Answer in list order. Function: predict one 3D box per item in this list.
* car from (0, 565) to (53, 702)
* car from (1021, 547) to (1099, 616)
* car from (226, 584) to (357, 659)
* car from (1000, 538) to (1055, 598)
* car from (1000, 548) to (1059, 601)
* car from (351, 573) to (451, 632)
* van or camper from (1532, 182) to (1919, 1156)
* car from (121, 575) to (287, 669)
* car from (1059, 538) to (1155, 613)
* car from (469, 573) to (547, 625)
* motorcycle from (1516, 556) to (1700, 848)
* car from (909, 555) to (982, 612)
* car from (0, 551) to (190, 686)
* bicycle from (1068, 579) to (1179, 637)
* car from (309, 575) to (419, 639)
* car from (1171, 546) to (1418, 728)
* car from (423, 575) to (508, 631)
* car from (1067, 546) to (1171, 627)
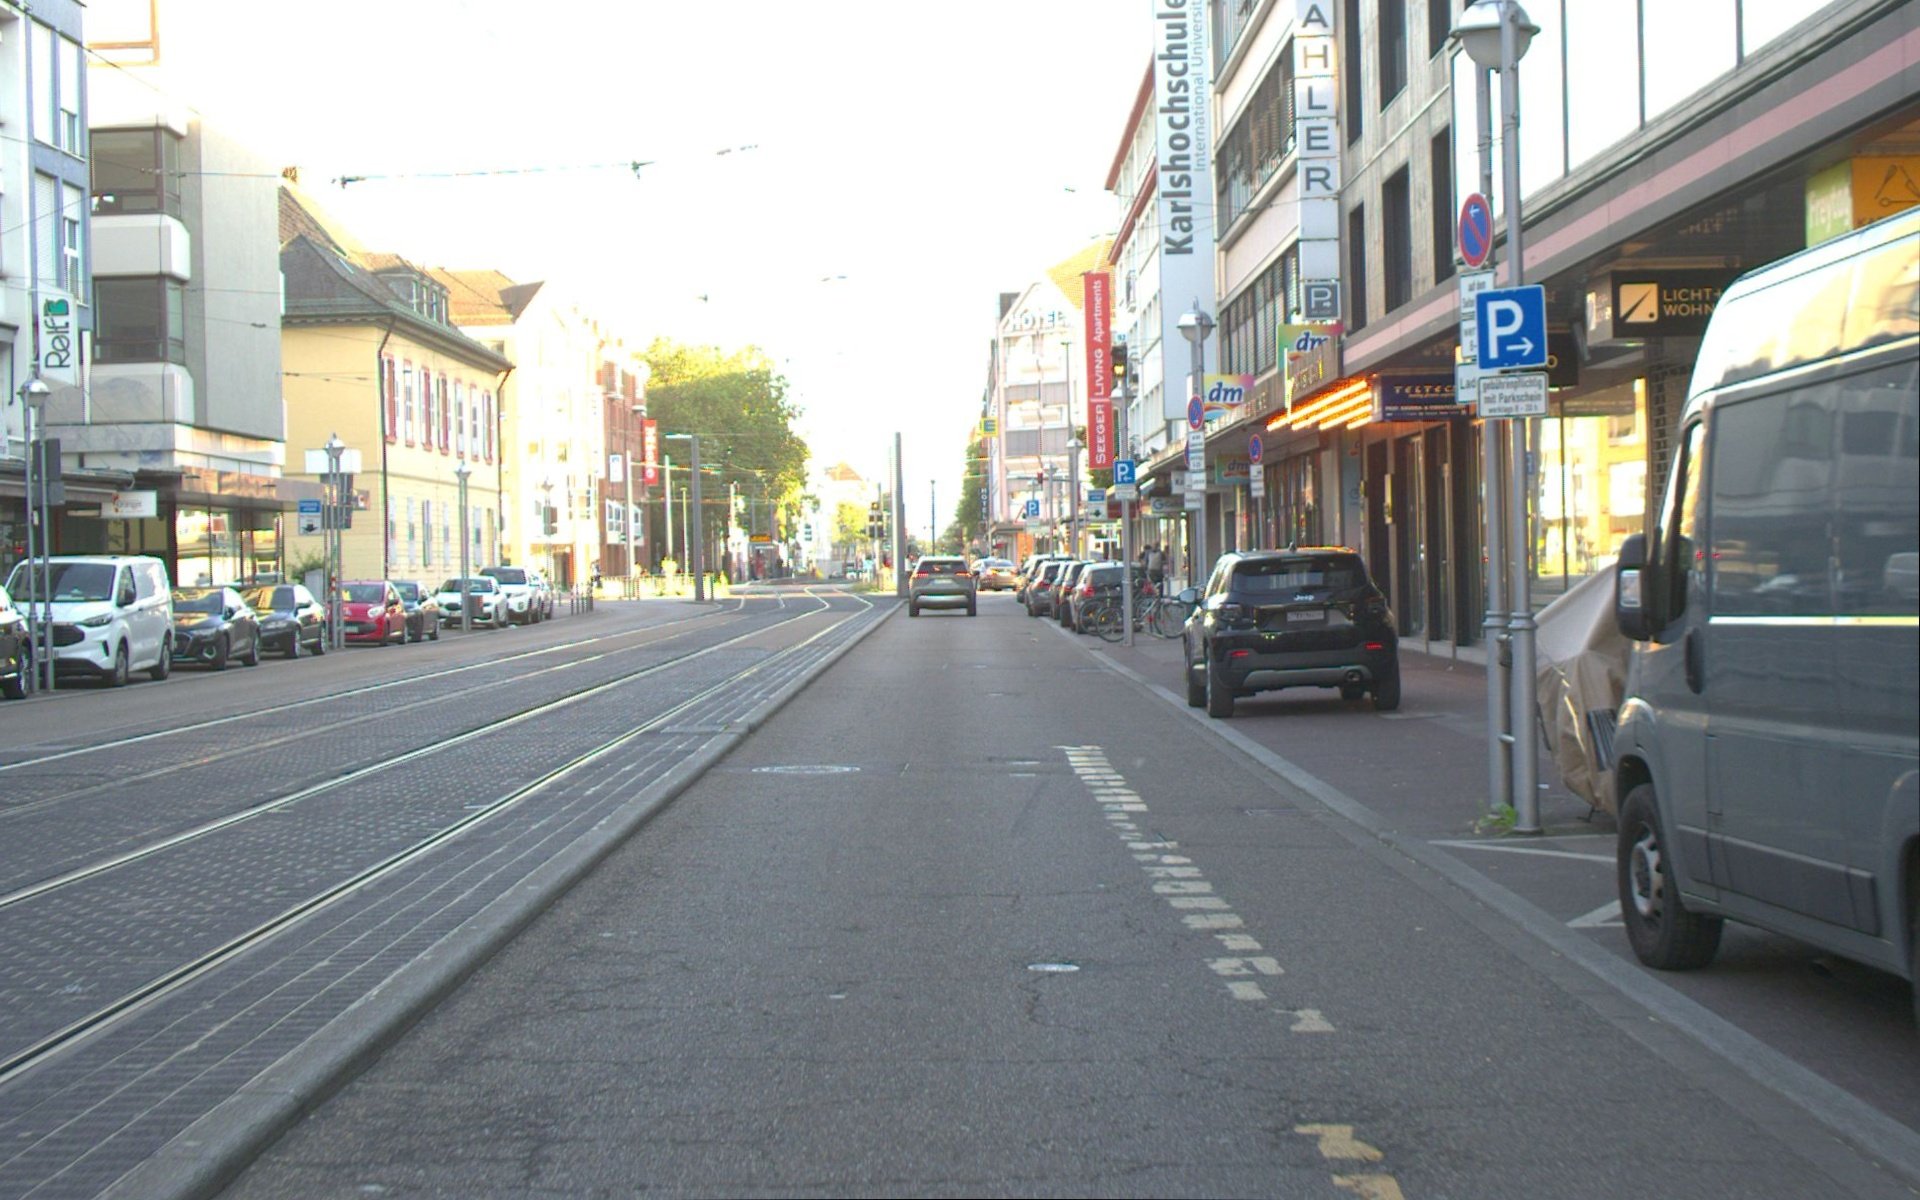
[{"bbox_3d":[-13.384,0.424,44.776,1.917,1.757,4.430,1,1,0],"label":"car"},{"bbox_3d":[2.678,-0.524,92.955,1.944,1.697,4.544,-3,1,1],"label":"car"},{"bbox_3d":[-12.884,0.398,66.432,1.791,1.334,3.892,1,1,-1],"label":"car"},{"bbox_3d":[2.575,-1.238,131.448,1.944,2.138,4.544,-3,1,1],"label":"car"},{"bbox_3d":[2.395,-0.894,119.602,1.944,1.697,4.544,-3,1,1],"label":"car"},{"bbox_3d":[-13.281,0.046,81.864,1.791,1.334,3.892,1,1,-1],"label":"car"},{"bbox_3d":[3.414,0.118,10.428,2.188,2.418,5.518,-3,1,-1],"label":"van or camper"},{"bbox_3d":[-13.166,0.359,60.137,1.917,1.516,4.630,1,1,-1],"label":"car"},{"bbox_3d":[3.282,-0.563,77.283,1.944,1.539,4.544,-3,1,1],"label":"car"},{"bbox_3d":[-13.255,-0.035,101.009,1.791,1.444,3.892,1,1,-1],"label":"car"},{"bbox_3d":[3.410,0.503,18.244,0.813,1.412,2.004,-3,1,8],"label":"motorcycle"},{"bbox_3d":[-0.376,-0.476,95.924,1.944,1.539,4.544,-1,1,1],"label":"car"},{"bbox_3d":[-13.315,0.237,52.602,1.917,1.929,4.842,1,1,0],"label":"car"},{"bbox_3d":[3.217,0.151,67.738,2.118,1.087,0.592,-1,1,-2],"label":"bicycle"},{"bbox_3d":[-13.243,0.142,76.535,1.791,1.334,3.892,1,1,-1],"label":"car"},{"bbox_3d":[3.169,0.302,33.421,1.944,1.539,4.544,-3,1,1],"label":"car"},{"bbox_3d":[-13.633,0.063,94.960,1.791,1.444,3.892,1,1,-1],"label":"car"},{"bbox_3d":[3.270,-0.308,71.410,1.944,1.539,4.544,-3,1,1],"label":"car"}]
